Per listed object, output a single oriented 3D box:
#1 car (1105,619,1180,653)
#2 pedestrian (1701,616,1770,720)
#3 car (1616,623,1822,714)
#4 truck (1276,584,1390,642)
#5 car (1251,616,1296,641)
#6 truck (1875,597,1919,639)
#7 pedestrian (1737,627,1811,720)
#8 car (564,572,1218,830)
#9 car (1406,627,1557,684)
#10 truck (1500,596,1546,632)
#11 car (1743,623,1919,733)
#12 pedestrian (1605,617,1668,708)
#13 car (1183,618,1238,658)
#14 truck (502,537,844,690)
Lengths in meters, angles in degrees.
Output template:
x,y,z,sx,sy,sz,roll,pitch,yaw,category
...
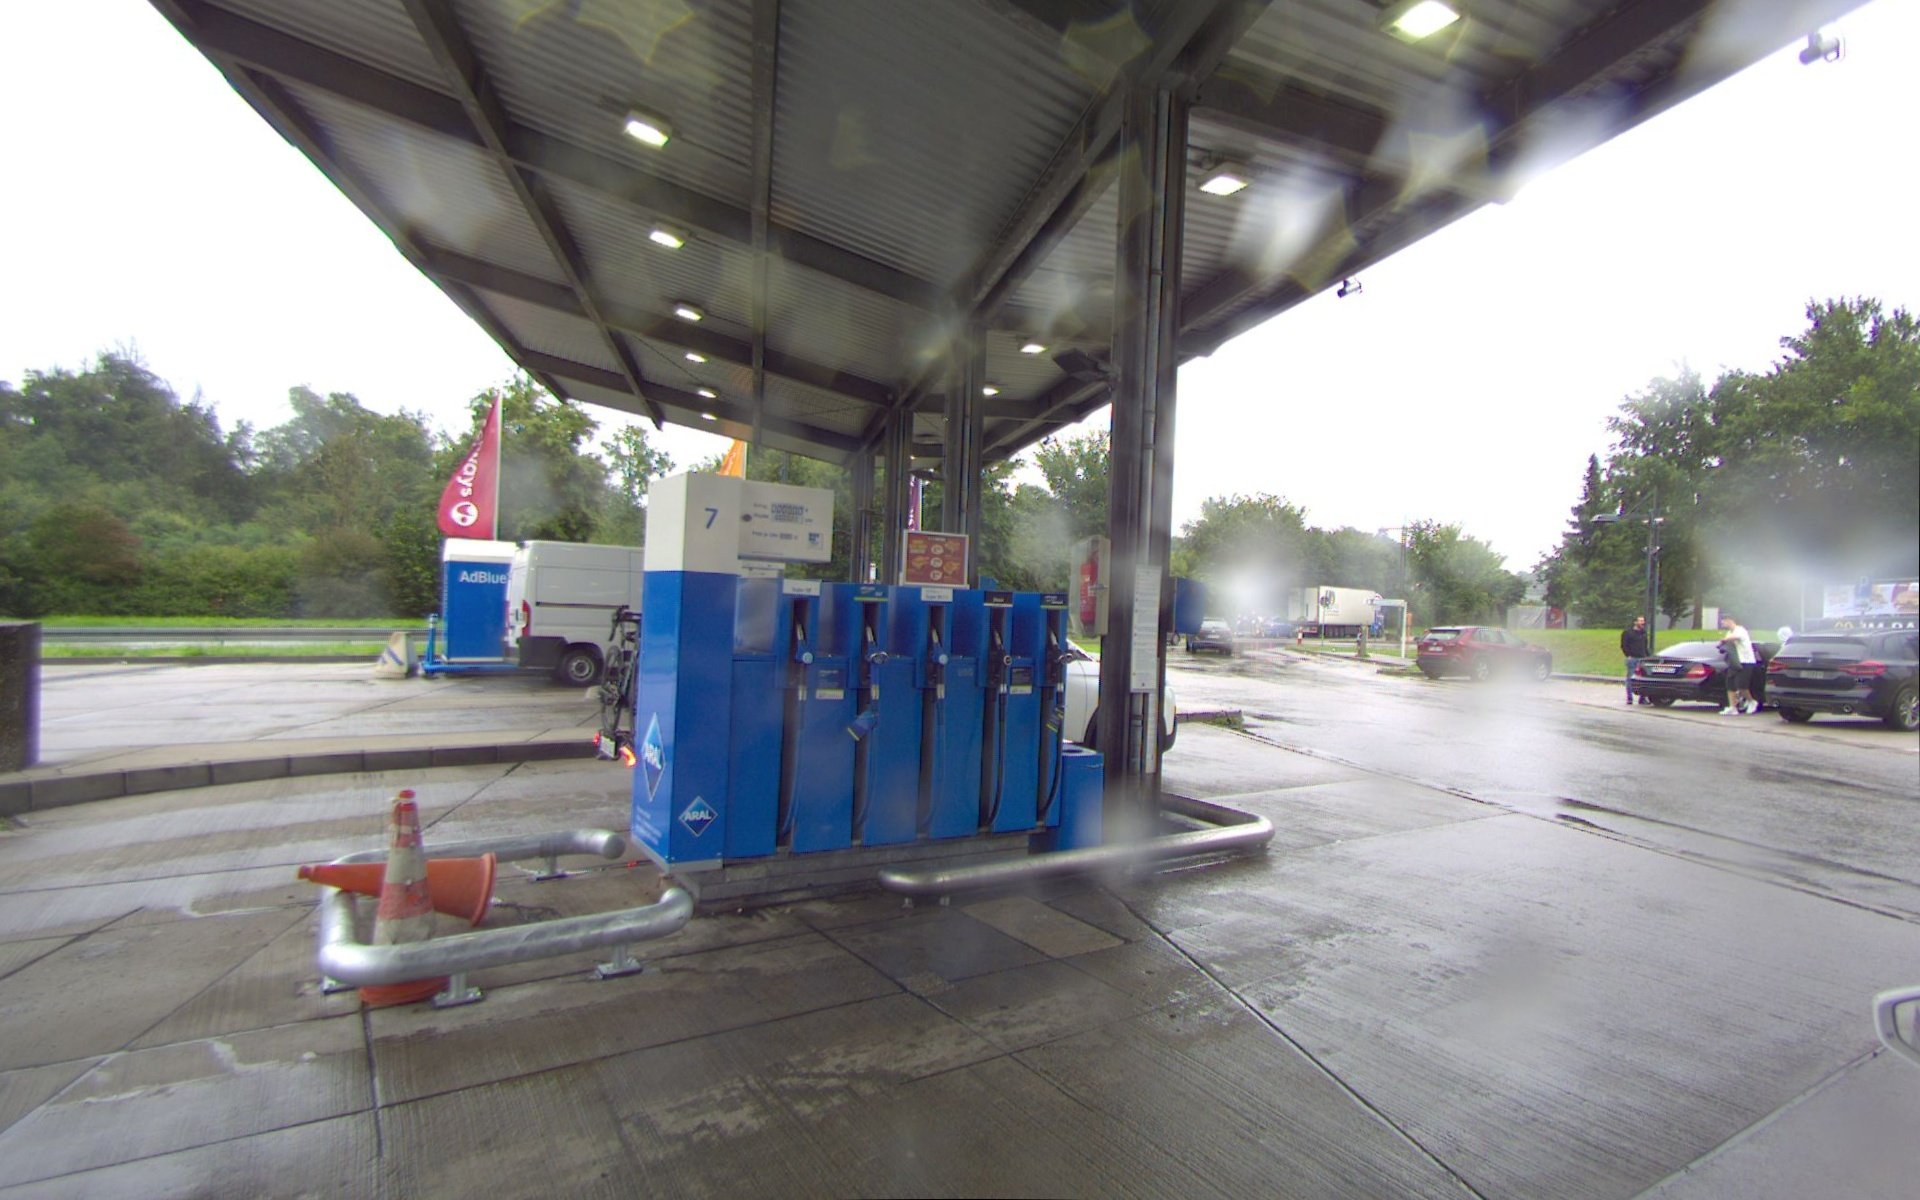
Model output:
x,y,z,sx,sy,sz,roll,pitch,yaw,category
9.493,1.870,52.220,3.971,1.650,1.755,3,-1,-42,car
14.869,1.274,19.250,0.941,1.912,0.700,2,0,44,pedestrian
15.956,1.357,21.087,4.293,1.734,2.007,1,-2,-31,car
31.896,1.181,85.147,3.498,4.397,16.922,2,0,40,truck
22.920,2.058,73.433,1.787,1.704,3.934,2,0,40,car
68.871,1.320,71.694,5.285,2.959,2.191,2,0,-5,truck
15.198,1.348,18.776,0.937,1.653,0.702,2,0,32,pedestrian
-0.412,0.701,8.456,5.210,1.629,1.852,2,0,-30,car
16.091,1.669,30.999,4.283,1.666,1.933,1,-2,-25,car
50.866,1.268,90.960,2.436,3.126,7.356,2,0,20,truck
16.186,1.271,17.464,4.274,1.734,2.016,1,-1,-18,car
14.614,1.331,21.711,0.690,1.912,0.893,2,0,-3,pedestrian
11.448,1.707,46.169,1.959,1.700,4.003,2,-1,7,car
-5.324,0.292,18.938,5.793,2.527,2.221,2,0,-30,truck
